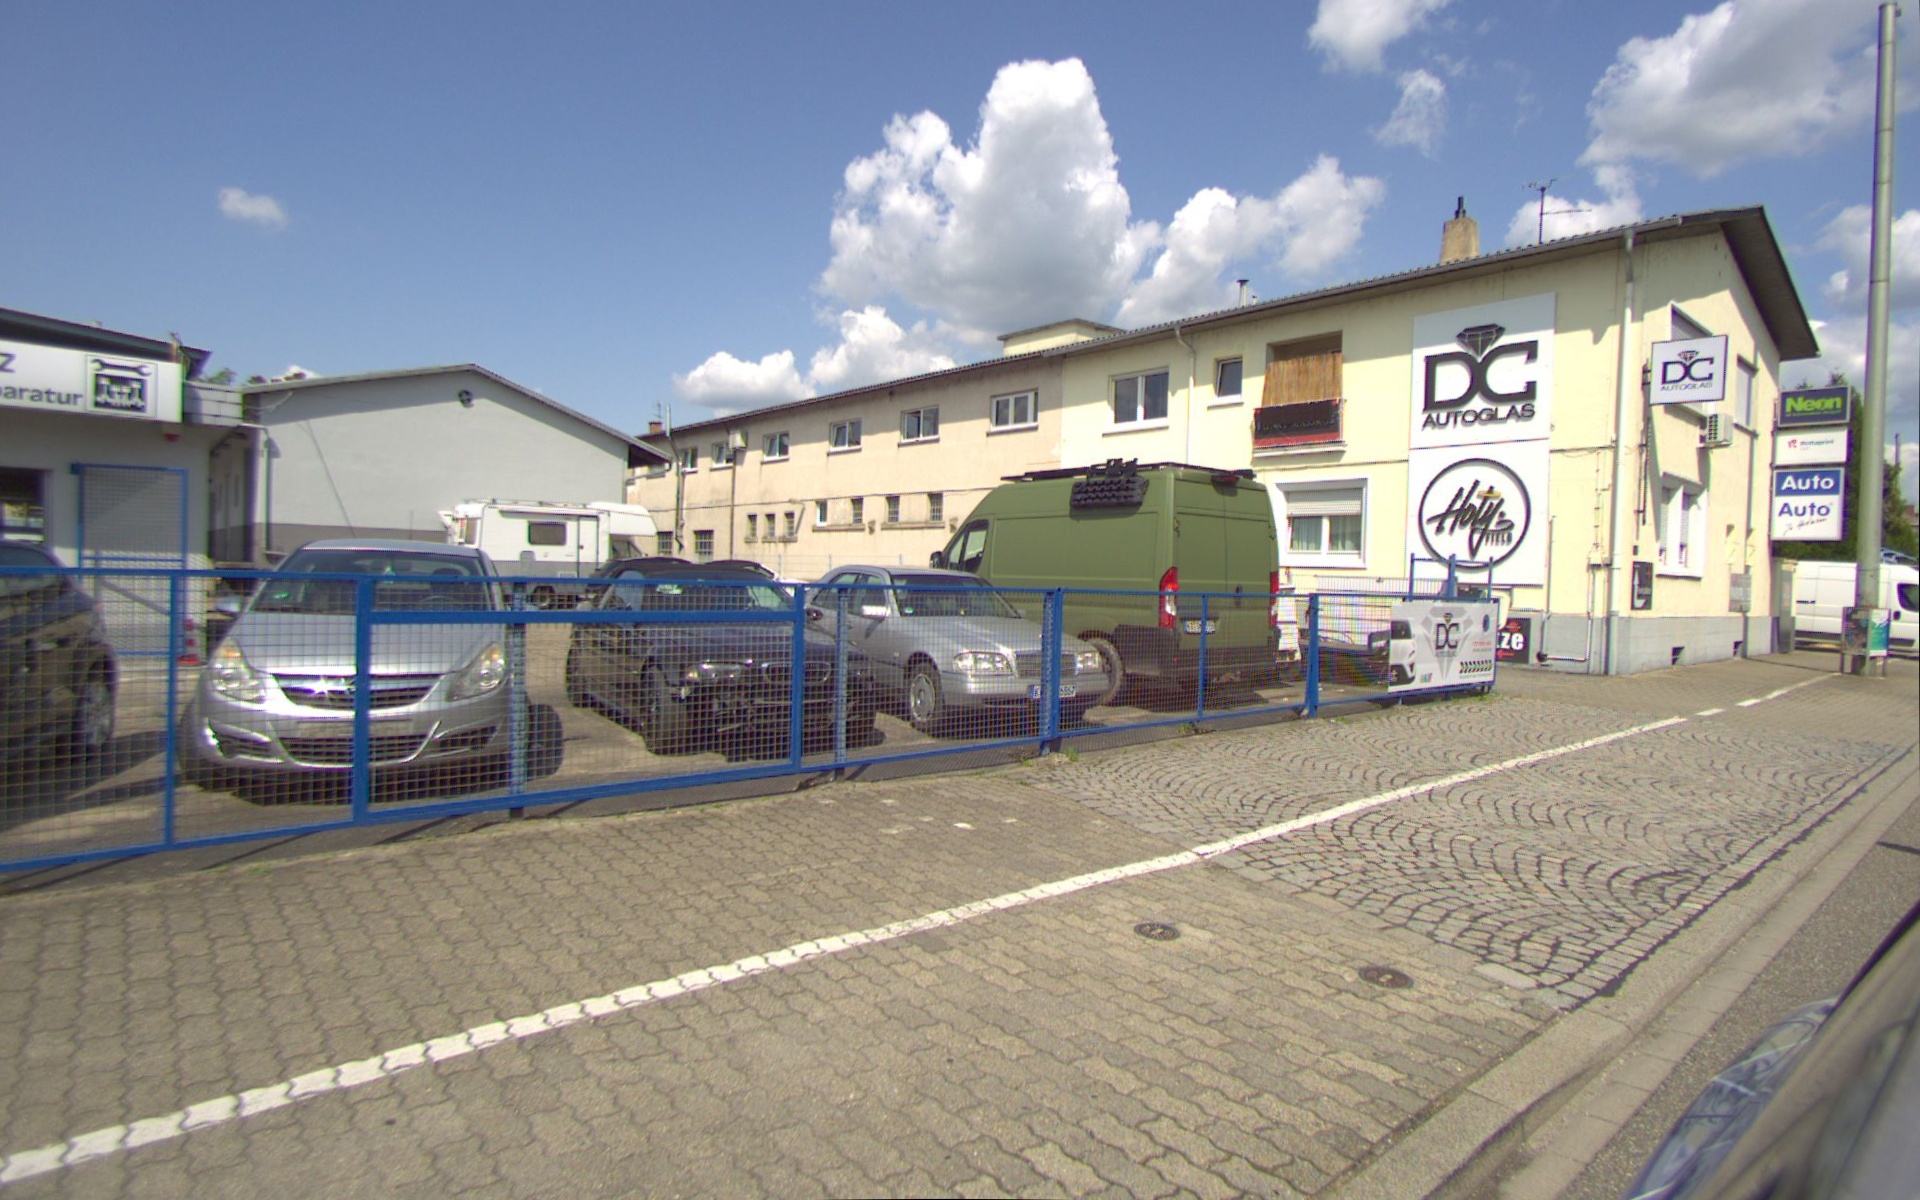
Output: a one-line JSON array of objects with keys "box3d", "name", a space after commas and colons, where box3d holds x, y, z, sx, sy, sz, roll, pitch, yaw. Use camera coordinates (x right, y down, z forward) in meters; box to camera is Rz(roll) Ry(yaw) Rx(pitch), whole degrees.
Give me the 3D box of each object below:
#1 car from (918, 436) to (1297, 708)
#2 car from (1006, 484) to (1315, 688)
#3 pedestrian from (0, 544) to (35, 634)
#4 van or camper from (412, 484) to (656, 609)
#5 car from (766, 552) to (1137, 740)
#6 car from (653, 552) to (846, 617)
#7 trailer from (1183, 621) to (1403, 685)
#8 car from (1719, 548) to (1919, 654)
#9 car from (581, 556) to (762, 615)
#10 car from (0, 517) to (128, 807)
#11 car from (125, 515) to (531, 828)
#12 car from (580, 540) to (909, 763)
[{"box3d": [1.594, -0.352, 12.250, 2.075, 2.675, 4.208, 1, 2, -39], "name": "car"}, {"box3d": [2.640, -0.249, 14.229, 1.557, 2.436, 4.208, 1, 2, -39], "name": "car"}, {"box3d": [-13.155, -0.158, 13.877, 0.652, 1.224, 0.566, 1, 1, -39], "name": "pedestrian"}, {"box3d": [-11.296, -1.325, 27.106, 5.556, 3.002, 2.272, 0, 2, -42], "name": "van or camper"}, {"box3d": [-0.332, 0.284, 10.197, 1.679, 1.470, 4.292, 1, 2, -33], "name": "car"}, {"box3d": [-4.836, -0.350, 23.542, 4.112, 1.378, 1.645, 0, 2, -41], "name": "car"}, {"box3d": [4.756, 0.722, 14.644, 1.307, 0.674, 2.730, 0, 2, -42], "name": "trailer"}, {"box3d": [23.893, 0.014, 26.645, 2.055, 2.493, 5.838, 0, 4, -39], "name": "car"}, {"box3d": [-7.299, -0.360, 25.806, 4.112, 1.378, 1.645, 0, 2, -41], "name": "car"}, {"box3d": [-5.627, 0.302, 4.879, 1.606, 1.470, 3.701, 1, 2, -25], "name": "car"}, {"box3d": [-3.893, 0.278, 6.835, 1.736, 1.470, 3.778, 1, 2, -24], "name": "car"}, {"box3d": [-2.122, 0.271, 8.892, 1.737, 1.470, 4.128, 1, 2, -28], "name": "car"}]
